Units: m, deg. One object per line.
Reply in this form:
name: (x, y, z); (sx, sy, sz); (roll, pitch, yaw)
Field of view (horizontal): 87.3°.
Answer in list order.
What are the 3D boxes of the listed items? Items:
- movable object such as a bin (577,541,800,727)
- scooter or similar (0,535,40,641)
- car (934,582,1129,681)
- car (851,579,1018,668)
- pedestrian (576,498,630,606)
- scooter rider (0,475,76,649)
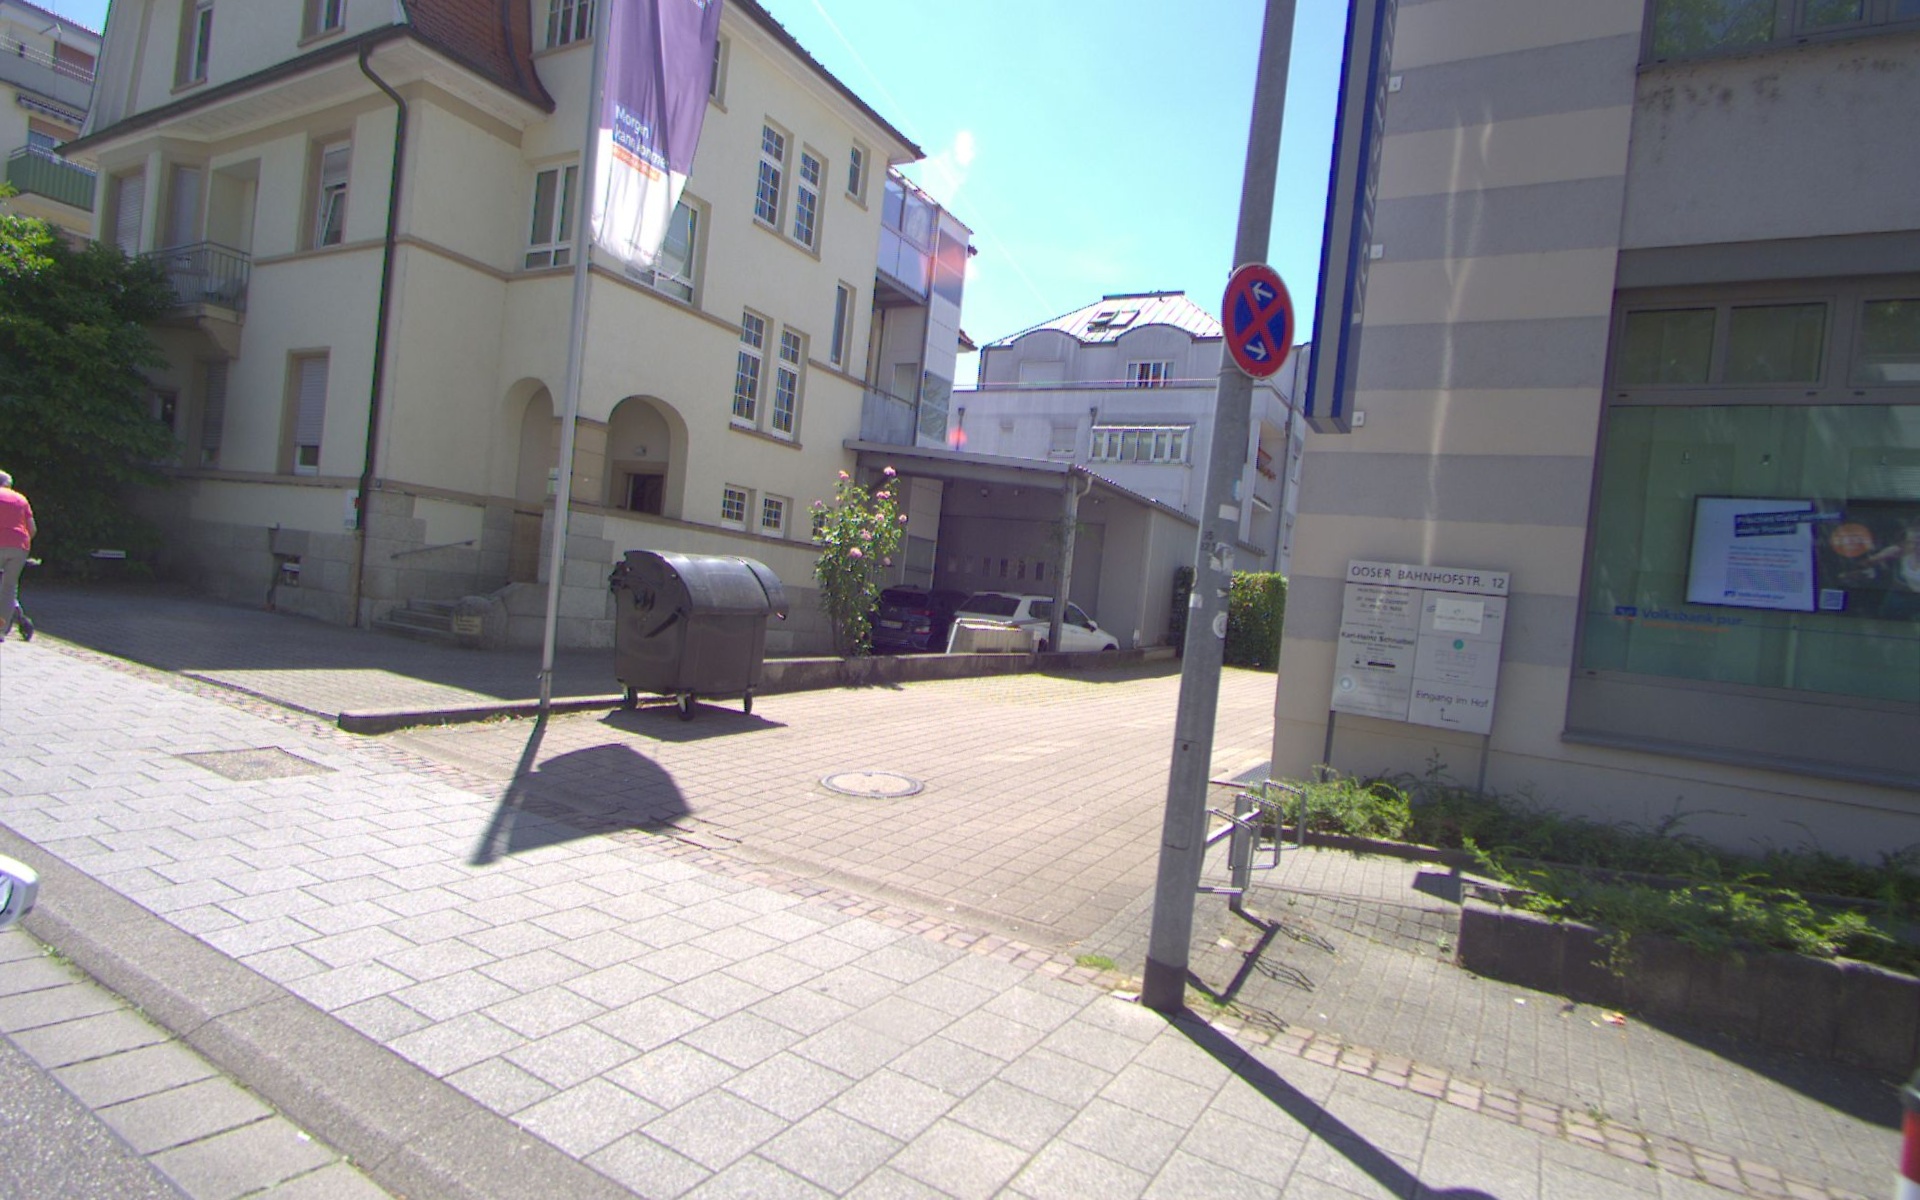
movable object such as a bin: (-2.499, 0.275, 9.338); (1.358, 1.479, 1.367); (7, 3, 32)
scooter or similar: (-9.456, -0.139, 9.678); (0.741, 0.975, 0.664); (7, 2, 30)
car: (1.523, 0.682, 20.153); (1.785, 1.628, 3.981); (7, 1, 39)
car: (-0.445, 0.555, 21.207); (1.723, 1.510, 3.738); (7, 0, 29)
pedestrian: (-5.891, -0.792, 16.604); (0.588, 1.679, 0.734); (6, 1, -28)
scooter rider: (-8.903, -0.367, 9.371); (0.757, 1.569, 0.716); (7, 2, 29)
